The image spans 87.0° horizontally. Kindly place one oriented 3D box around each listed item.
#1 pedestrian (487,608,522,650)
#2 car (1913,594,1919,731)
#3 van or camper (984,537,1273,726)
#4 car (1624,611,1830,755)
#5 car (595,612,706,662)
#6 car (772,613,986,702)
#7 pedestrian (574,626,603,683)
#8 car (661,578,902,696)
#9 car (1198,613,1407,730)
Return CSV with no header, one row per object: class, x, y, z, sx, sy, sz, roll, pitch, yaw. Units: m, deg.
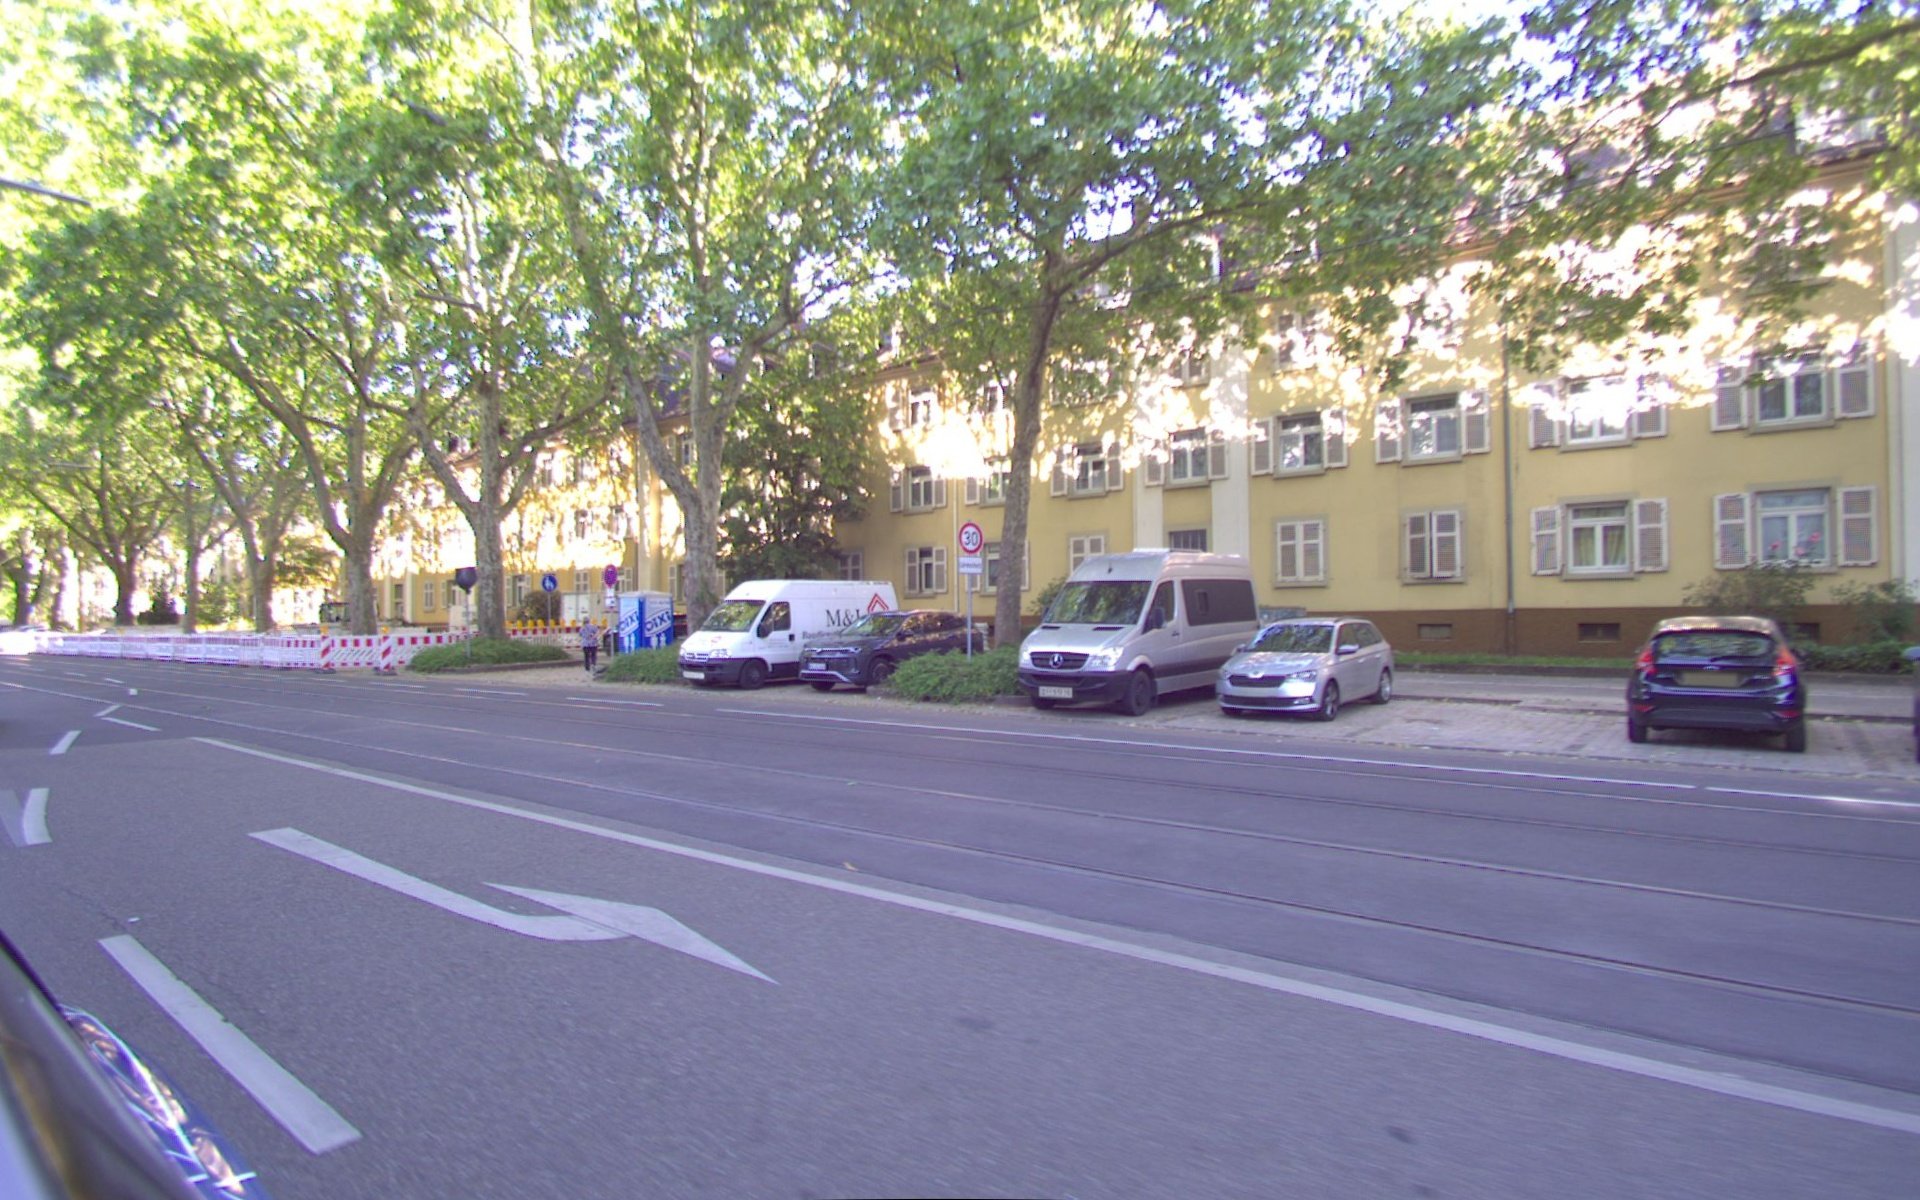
pedestrian,-22.454,1.441,49.877,1.233,2.029,1.085,-2,-2,36
car,11.164,0.768,10.394,1.814,1.617,4.144,-2,0,41
van or camper,3.151,0.458,17.516,2.227,2.697,6.051,-2,-1,39
car,9.345,0.889,12.319,1.741,1.440,3.528,-2,-1,39
car,-11.118,1.300,36.218,4.219,1.613,1.806,-2,0,41
car,-1.600,1.123,21.423,1.967,1.643,4.519,-2,-1,38
pedestrian,-10.647,1.555,28.996,0.587,1.585,0.718,1,-2,-41
car,-3.944,0.798,23.354,2.023,2.393,5.542,-2,-2,39
car,5.496,1.000,15.919,1.729,1.481,4.102,0,1,40
